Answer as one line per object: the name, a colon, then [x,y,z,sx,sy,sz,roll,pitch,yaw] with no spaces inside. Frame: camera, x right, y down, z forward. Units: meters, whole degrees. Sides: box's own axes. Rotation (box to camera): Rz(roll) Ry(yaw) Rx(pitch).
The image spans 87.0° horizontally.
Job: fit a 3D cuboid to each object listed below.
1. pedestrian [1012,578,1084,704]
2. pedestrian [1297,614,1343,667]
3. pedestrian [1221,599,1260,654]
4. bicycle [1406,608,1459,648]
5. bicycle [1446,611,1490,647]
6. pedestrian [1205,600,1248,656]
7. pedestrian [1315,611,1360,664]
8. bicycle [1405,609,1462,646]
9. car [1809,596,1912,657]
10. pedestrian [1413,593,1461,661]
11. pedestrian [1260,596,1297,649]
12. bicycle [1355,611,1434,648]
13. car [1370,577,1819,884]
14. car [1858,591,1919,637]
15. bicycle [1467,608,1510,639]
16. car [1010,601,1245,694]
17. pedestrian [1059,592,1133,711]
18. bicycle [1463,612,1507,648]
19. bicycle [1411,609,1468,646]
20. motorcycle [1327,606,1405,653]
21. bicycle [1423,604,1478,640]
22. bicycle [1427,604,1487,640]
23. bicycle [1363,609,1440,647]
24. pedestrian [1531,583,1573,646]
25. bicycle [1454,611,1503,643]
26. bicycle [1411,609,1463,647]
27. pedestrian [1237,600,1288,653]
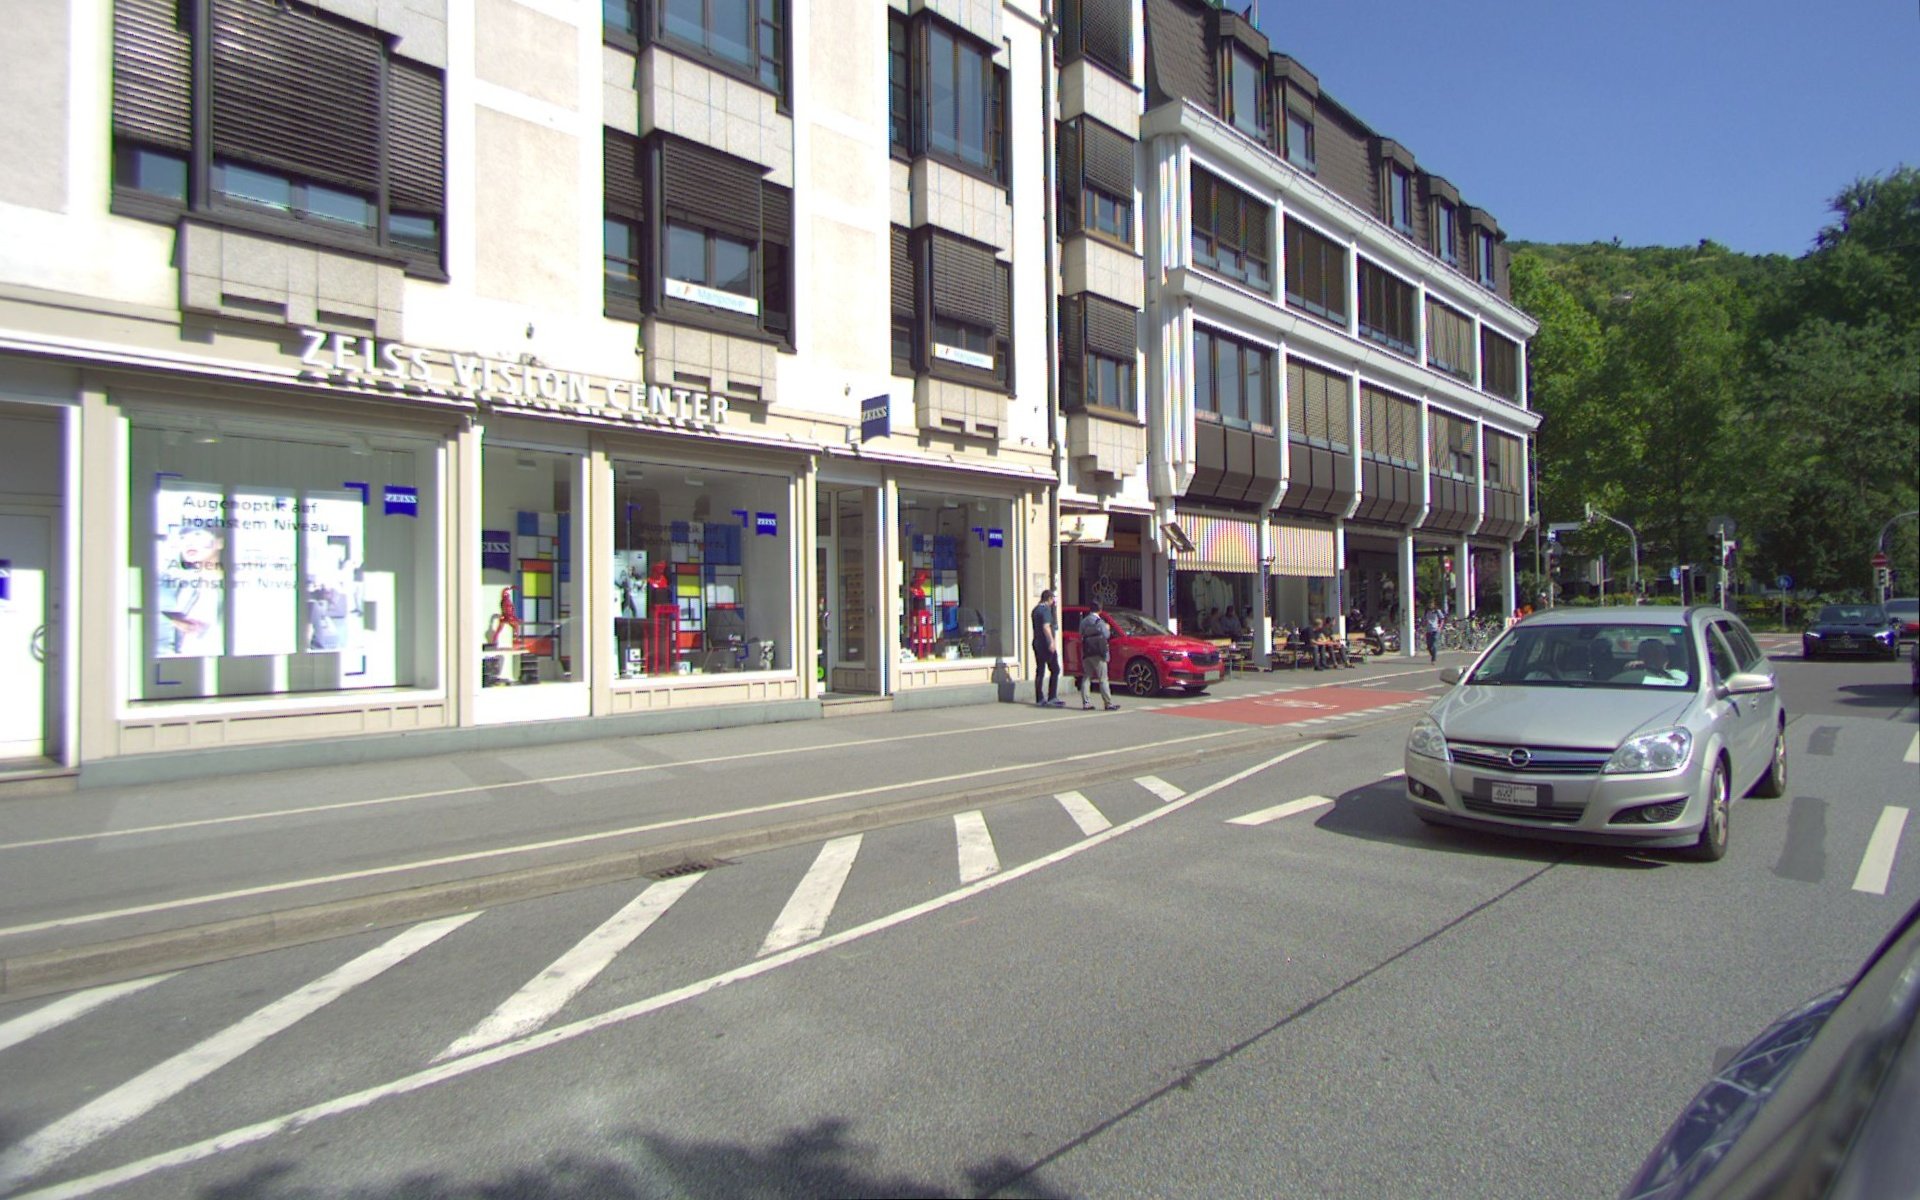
pedestrian: [1.370,0.617,15.751,0.820,1.874,0.696,-2,0,-35]
pedestrian: [8.433,0.939,23.709,0.683,1.187,0.713,-2,0,-35]
pedestrian: [7.416,0.685,26.751,0.685,1.414,0.711,-2,0,-44]
bicycle: [14.764,0.878,31.664,0.272,1.222,1.549,0,-2,-36]
bicycle: [16.380,0.914,32.598,2.201,1.135,0.277,0,-1,-36]
pedestrian: [6.867,0.714,26.125,0.813,1.414,0.685,-2,-1,45]
pedestrian: [9.058,0.893,24.274,0.683,1.232,0.713,-2,0,-35]
bicycle: [15.190,0.860,32.502,0.272,1.134,1.722,0,0,-36]
car: [23.139,0.646,26.064,1.842,1.447,4.149,-1,-1,41]
pedestrian: [12.128,0.679,25.726,0.683,1.684,0.835,-2,0,-35]
pedestrian: [8.864,0.613,28.152,0.685,1.414,0.711,-2,0,-44]
bicycle: [13.402,0.903,31.277,2.227,1.111,0.274,-1,-2,34]
car: [4.723,0.671,7.228,4.333,1.542,1.708,0,-2,-44]
car: [32.127,0.437,34.470,4.271,1.447,1.938,-1,0,-44]
bicycle: [18.508,0.826,35.452,1.441,1.079,0.309,0,0,-8]
car: [2.984,0.799,18.654,1.810,1.513,4.050,0,-1,-41]
pedestrian: [2.030,0.745,15.111,0.819,1.707,0.696,0,-1,-35]
bicycle: [16.816,0.950,32.414,2.201,1.135,0.277,0,-1,-36]
bicycle: [15.497,0.871,32.741,0.272,1.134,1.722,0,0,-36]
motorcycle: [12.010,0.838,30.038,0.929,1.307,2.248,-2,0,-15]
bicycle: [18.816,0.835,38.846,1.828,1.333,0.529,0,-1,8]
bicycle: [18.806,0.843,38.316,1.934,1.333,0.529,0,-1,8]
bicycle: [13.815,0.879,31.726,2.232,1.135,0.273,-2,-2,40]
pedestrian: [18.050,0.438,30.863,0.683,1.859,0.835,-1,0,-35]
bicycle: [17.828,0.914,34.807,1.444,1.079,0.377,0,0,4]
bicycle: [15.028,0.873,31.912,0.272,1.134,1.575,0,0,-36]
pedestrian: [8.233,0.704,27.528,1.087,1.368,0.896,-2,0,-44]
